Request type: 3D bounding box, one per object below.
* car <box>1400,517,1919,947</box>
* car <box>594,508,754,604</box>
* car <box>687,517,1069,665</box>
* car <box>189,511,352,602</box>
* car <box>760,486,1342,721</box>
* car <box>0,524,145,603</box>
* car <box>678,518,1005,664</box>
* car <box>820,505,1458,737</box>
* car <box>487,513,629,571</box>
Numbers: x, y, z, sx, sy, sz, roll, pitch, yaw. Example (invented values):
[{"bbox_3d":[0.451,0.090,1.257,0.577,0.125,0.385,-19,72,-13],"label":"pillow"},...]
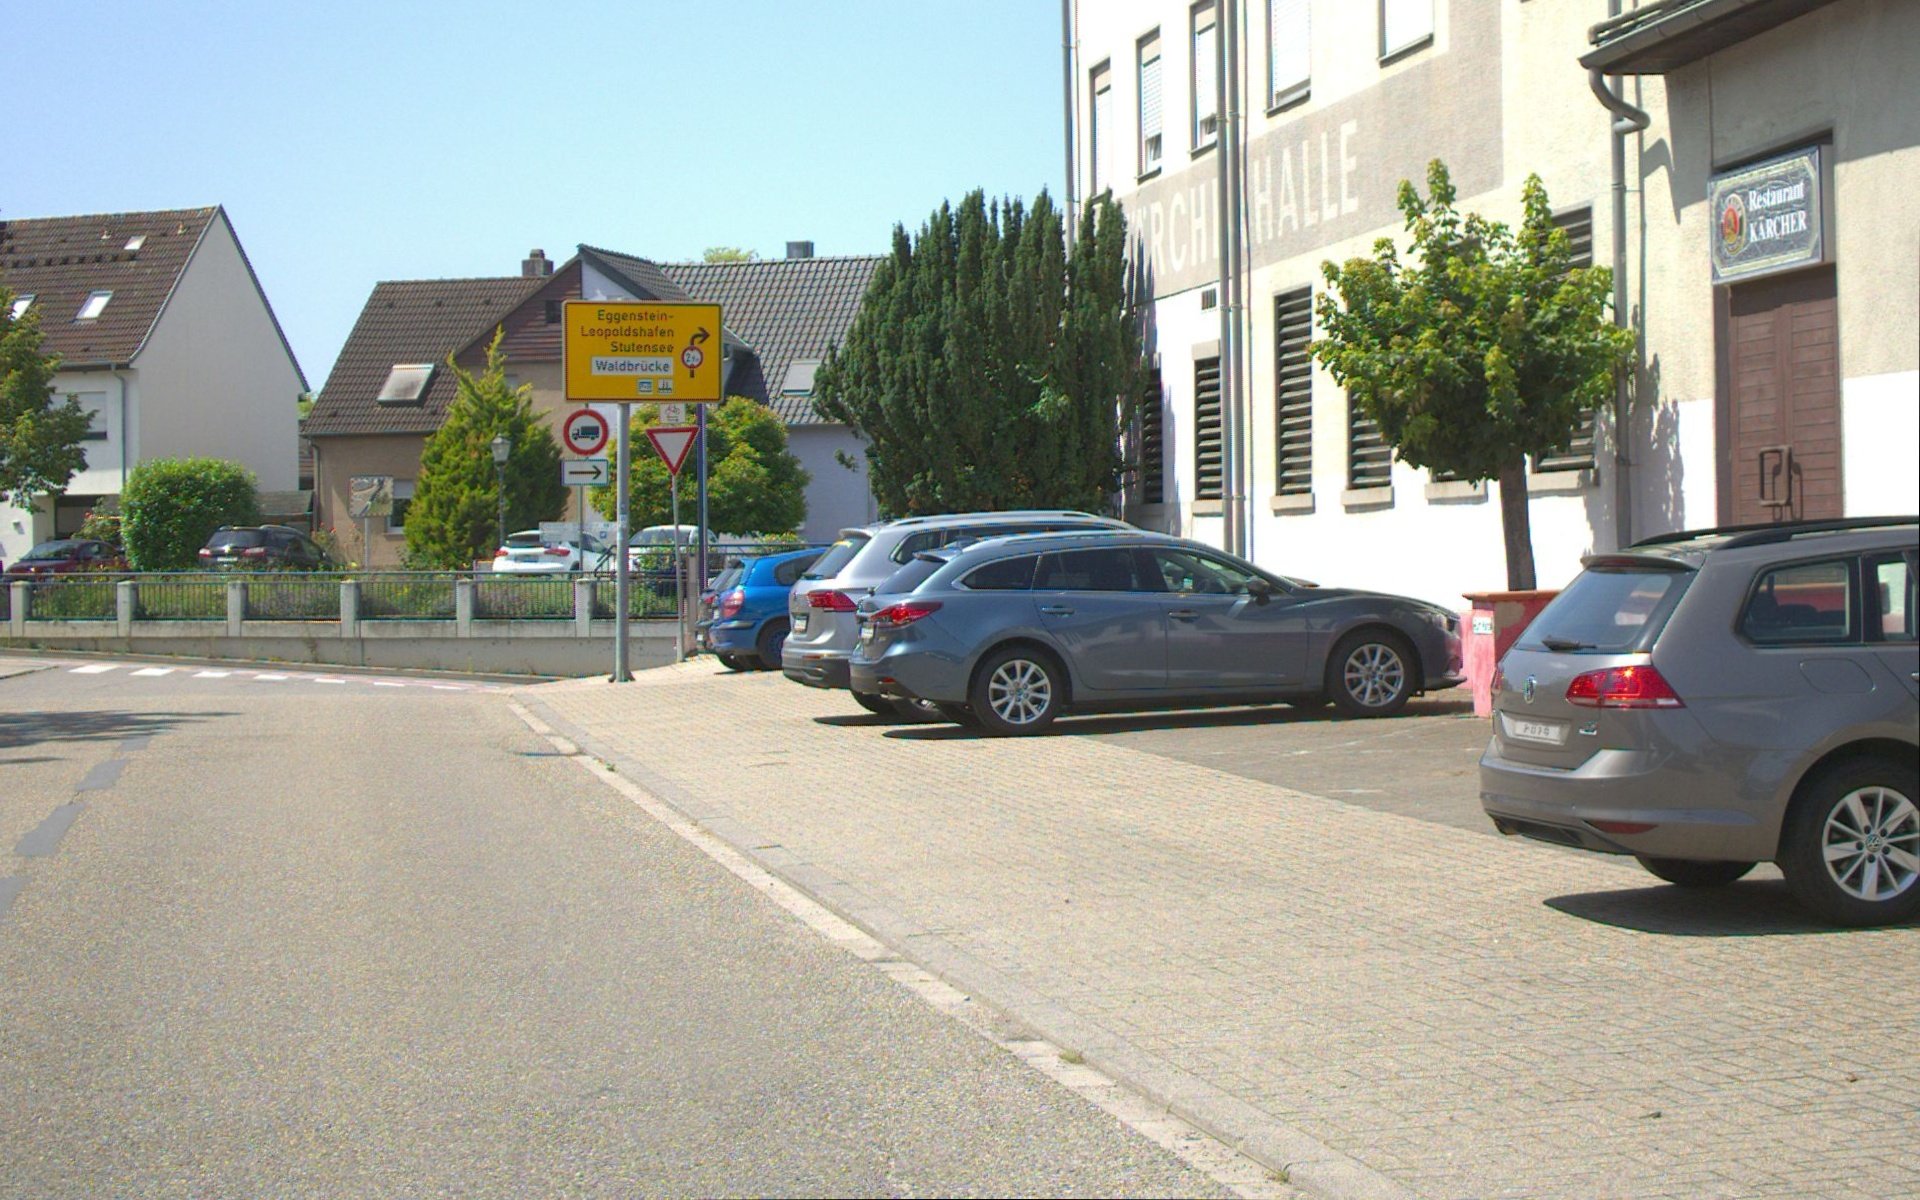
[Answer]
[{"bbox_3d":[4.236,0.391,13.587,4.525,1.449,1.918,-3,1,-11],"label":"car"},{"bbox_3d":[-6.100,-0.920,73.907,1.995,1.791,4.193,4,0,15],"label":"car"},{"bbox_3d":[-1.024,-0.100,42.019,4.321,1.435,1.780,-4,-1,-12],"label":"car"},{"bbox_3d":[-15.397,-0.947,76.957,1.869,1.791,3.997,4,0,15],"label":"car"},{"bbox_3d":[0.722,-0.003,28.706,4.452,1.691,1.923,-3,1,-13],"label":"car"},{"bbox_3d":[-20.287,-0.820,78.062,1.869,1.581,3.607,4,0,15],"label":"car"},{"bbox_3d":[-1.582,-0.108,45.240,3.894,1.485,1.810,-6,1,-13],"label":"car"},{"bbox_3d":[1.334,0.123,26.509,4.499,1.514,2.001,-3,1,-12],"label":"car"},{"bbox_3d":[-8.676,-1.242,74.498,1.826,1.016,3.456,4,0,15],"label":"car"}]
